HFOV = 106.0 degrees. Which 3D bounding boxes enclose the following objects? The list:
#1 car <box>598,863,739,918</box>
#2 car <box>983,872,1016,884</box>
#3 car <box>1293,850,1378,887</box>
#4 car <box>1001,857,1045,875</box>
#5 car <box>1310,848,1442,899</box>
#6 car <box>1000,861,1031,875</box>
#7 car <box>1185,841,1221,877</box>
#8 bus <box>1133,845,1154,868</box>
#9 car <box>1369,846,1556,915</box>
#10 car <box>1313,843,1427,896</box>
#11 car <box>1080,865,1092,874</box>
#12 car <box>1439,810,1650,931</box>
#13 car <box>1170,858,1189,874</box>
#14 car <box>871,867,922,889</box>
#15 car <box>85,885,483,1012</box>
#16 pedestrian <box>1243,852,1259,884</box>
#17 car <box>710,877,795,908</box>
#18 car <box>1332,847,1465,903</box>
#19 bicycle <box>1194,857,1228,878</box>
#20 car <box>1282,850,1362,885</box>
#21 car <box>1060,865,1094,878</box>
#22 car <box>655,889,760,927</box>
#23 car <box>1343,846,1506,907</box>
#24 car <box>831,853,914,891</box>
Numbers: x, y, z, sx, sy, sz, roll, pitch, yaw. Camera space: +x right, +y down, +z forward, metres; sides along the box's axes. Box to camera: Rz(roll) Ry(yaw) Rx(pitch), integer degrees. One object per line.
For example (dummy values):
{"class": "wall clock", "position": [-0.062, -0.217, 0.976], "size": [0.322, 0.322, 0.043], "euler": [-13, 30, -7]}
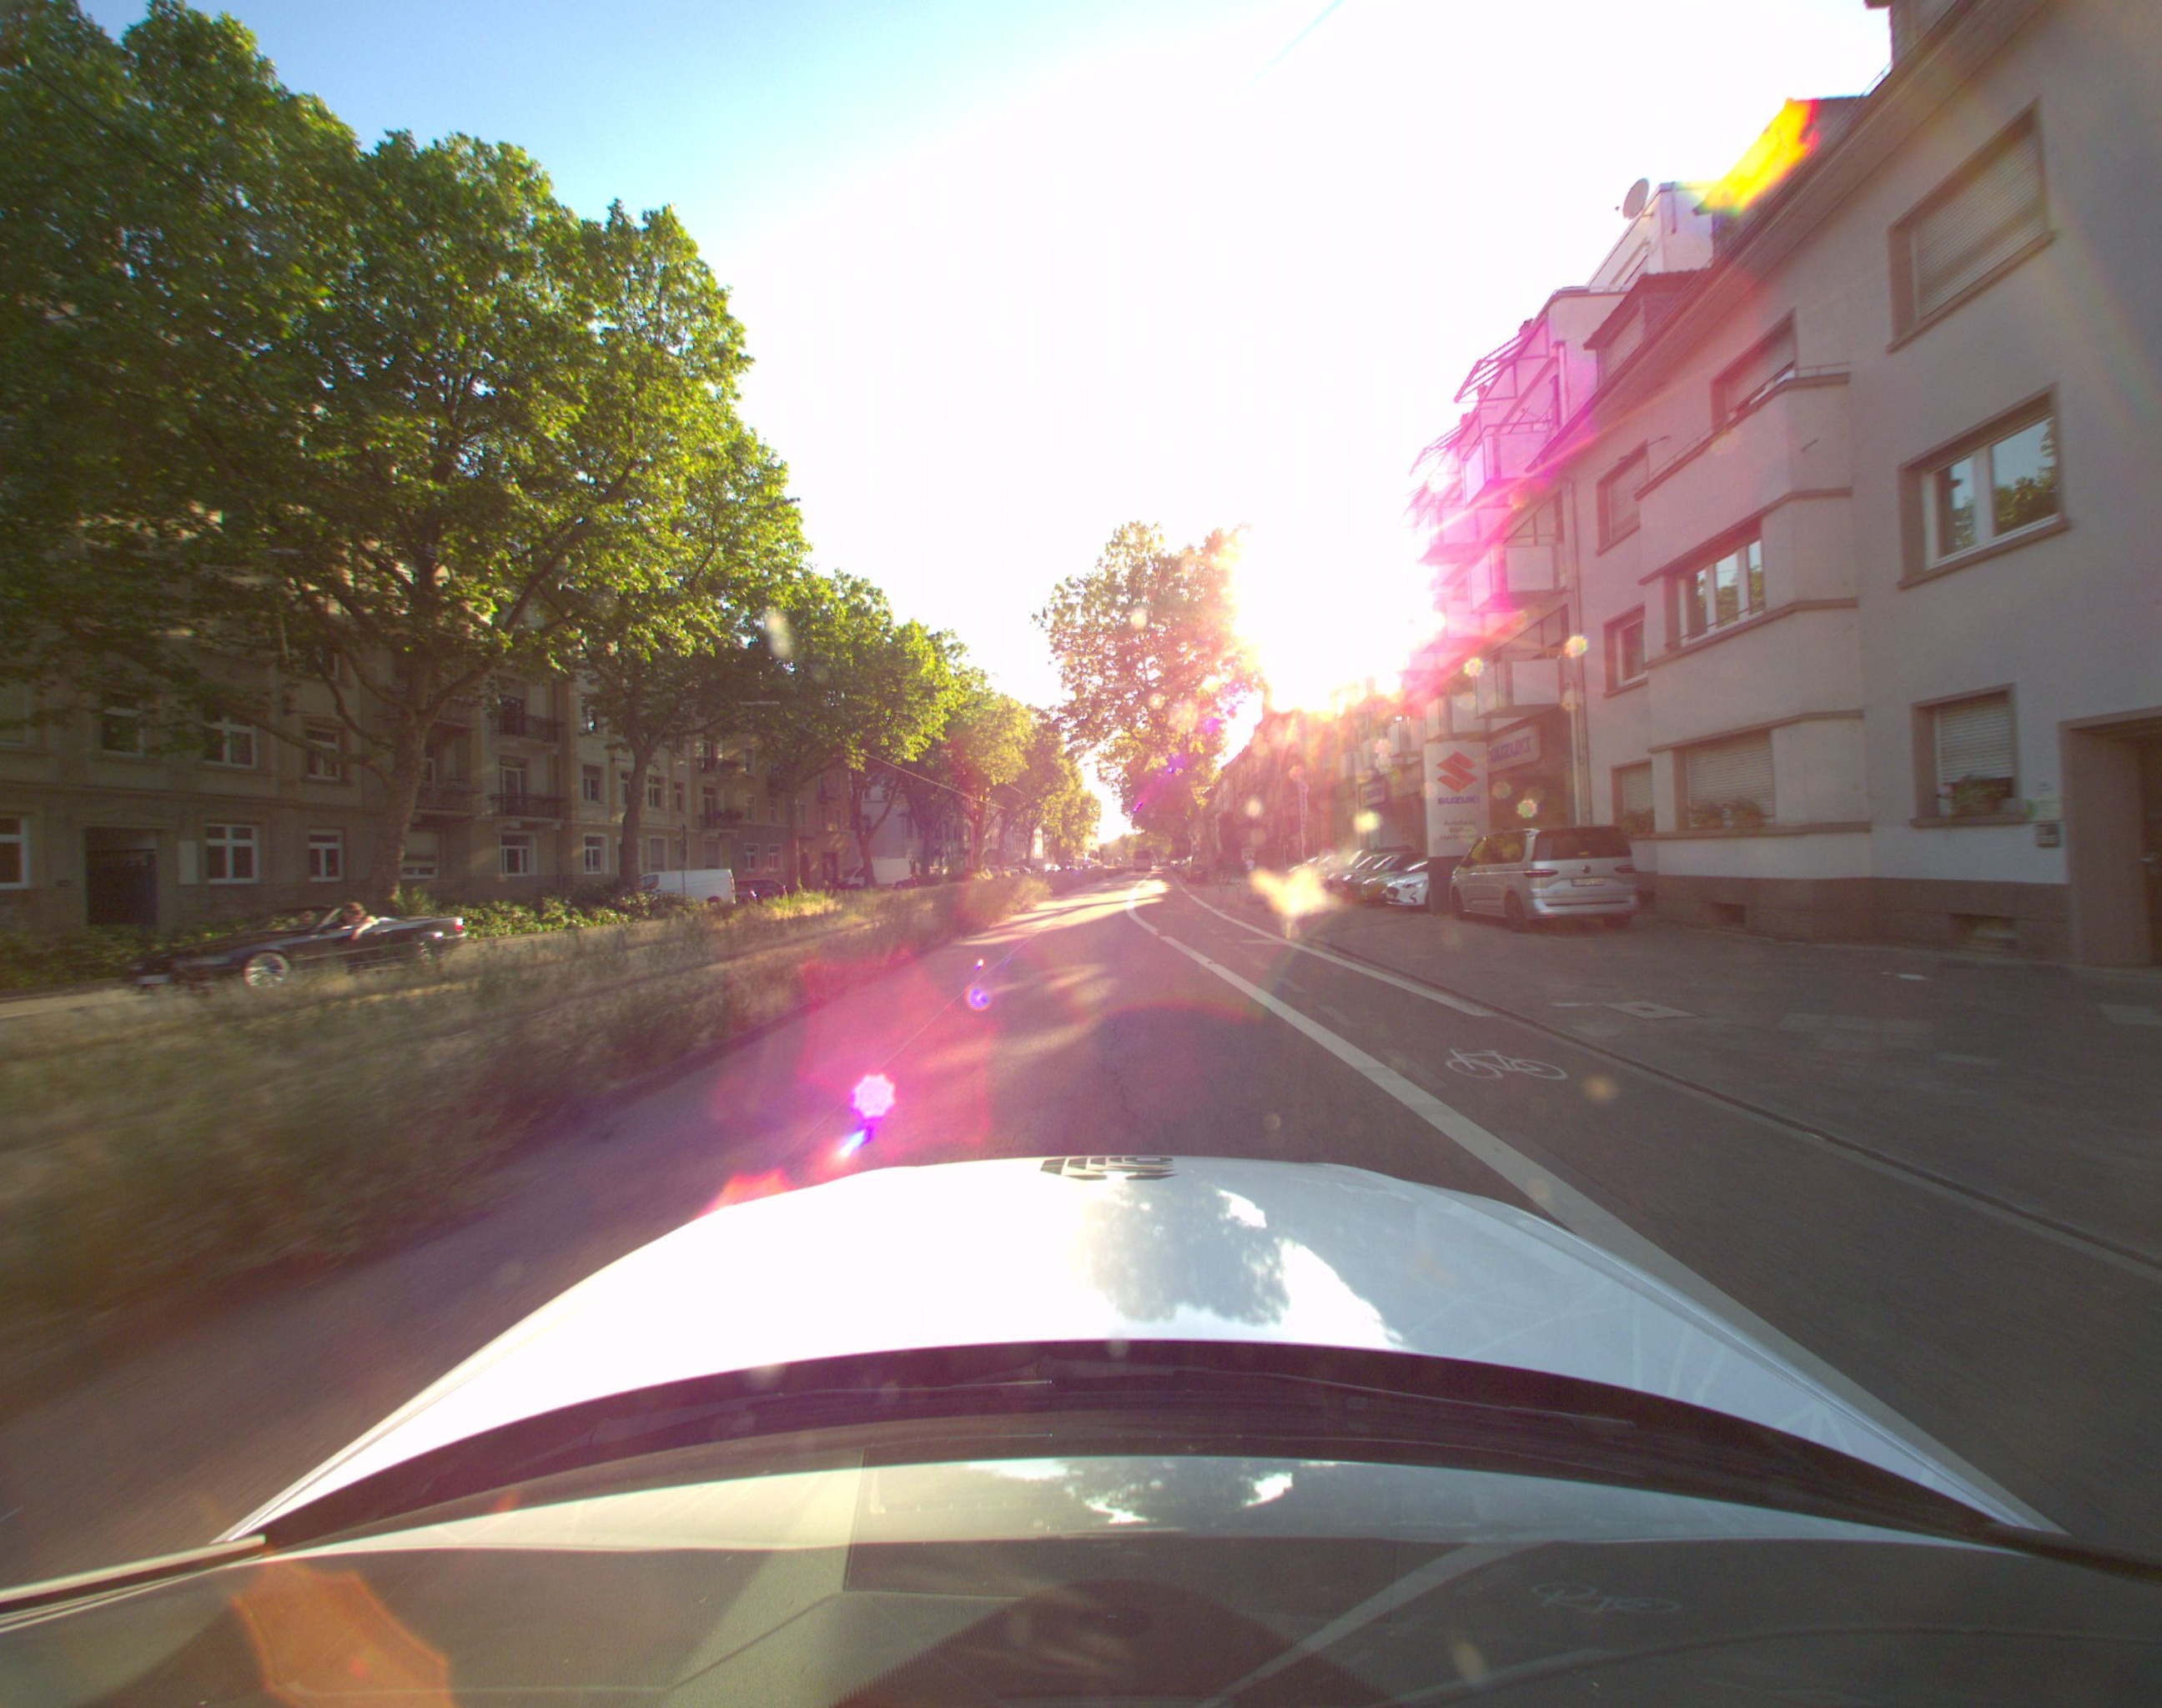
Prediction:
{"class": "car", "position": [-18.020, 1.546, 35.754], "size": [5.271, 2.066, 1.702], "euler": [-2, -1, -37]}
{"class": "car", "position": [-10.828, 3.161, 107.971], "size": [4.008, 1.356, 1.572], "euler": [-2, -1, -27]}
{"class": "car", "position": [11.473, 0.647, 36.921], "size": [3.400, 1.519, 1.761], "euler": [-2, -1, 7]}
{"class": "car", "position": [-9.488, 2.023, 133.031], "size": [6.951, 2.678, 2.174], "euler": [-2, -1, -16]}
{"class": "car", "position": [9.875, 0.640, 27.501], "size": [3.803, 1.540, 1.861], "euler": [-2, 0, 3]}
{"class": "car", "position": [-9.421, 2.063, 117.437], "size": [4.009, 1.699, 1.840], "euler": [-4, -1, -27]}
{"class": "car", "position": [8.284, 0.384, 55.604], "size": [1.984, 2.257, 5.241], "euler": [-2, -1, 4]}
{"class": "bus", "position": [9.438, 0.461, 123.029], "size": [2.822, 3.236, 8.188], "euler": [-2, -1, 3]}
{"class": "car", "position": [9.516, 0.618, 20.540], "size": [3.799, 1.501, 1.913], "euler": [-2, 1, 0]}
{"class": "car", "position": [10.417, 0.553, 29.532], "size": [3.561, 1.720, 1.685], "euler": [-2, 1, 7]}
{"class": "car", "position": [1.020, 2.971, 153.960], "size": [1.781, 1.574, 4.006], "euler": [-2, -1, 6]}
{"class": "car", "position": [8.827, 0.323, 16.100], "size": [1.882, 1.948, 4.911], "euler": [-2, -1, 8]}
{"class": "car", "position": [11.685, 1.431, 96.151], "size": [1.732, 1.770, 4.409], "euler": [-3, -1, 12]}
{"class": "car", "position": [-15.100, 1.959, 66.641], "size": [3.718, 1.466, 1.721], "euler": [-3, 0, -27]}
{"class": "car", "position": [-12.804, 1.404, 13.652], "size": [1.708, 1.486, 4.706], "euler": [-5, -1, 5]}
{"class": "pedestrian", "position": [8.892, 0.752, 42.533], "size": [0.660, 1.629, 0.924], "euler": [-2, -1, 5]}
{"class": "car", "position": [-17.095, 1.973, 42.405], "size": [3.746, 1.422, 1.702], "euler": [-2, -1, -37]}
{"class": "car", "position": [9.738, 0.640, 25.192], "size": [3.406, 1.525, 1.741], "euler": [-2, 0, 1]}
{"class": "bicycle", "position": [7.471, 0.782, 46.899], "size": [1.836, 1.143, 0.349], "euler": [-2, -1, 4]}
{"class": "car", "position": [11.521, 0.650, 39.119], "size": [3.404, 1.546, 1.443], "euler": [-2, -1, 2]}
{"class": "car", "position": [-0.523, 2.518, 117.034], "size": [4.751, 1.694, 1.872], "euler": [-2, -1, -4]}
{"class": "car", "position": [-17.596, 2.512, 38.469], "size": [4.196, 1.491, 1.702], "euler": [-2, -1, -37]}
{"class": "car", "position": [9.643, 0.622, 23.083], "size": [3.852, 1.514, 1.811], "euler": [-2, 0, 3]}
{"class": "car", "position": [-15.556, 1.326, 60.935], "size": [5.534, 2.529, 2.102], "euler": [-2, -1, -37]}
